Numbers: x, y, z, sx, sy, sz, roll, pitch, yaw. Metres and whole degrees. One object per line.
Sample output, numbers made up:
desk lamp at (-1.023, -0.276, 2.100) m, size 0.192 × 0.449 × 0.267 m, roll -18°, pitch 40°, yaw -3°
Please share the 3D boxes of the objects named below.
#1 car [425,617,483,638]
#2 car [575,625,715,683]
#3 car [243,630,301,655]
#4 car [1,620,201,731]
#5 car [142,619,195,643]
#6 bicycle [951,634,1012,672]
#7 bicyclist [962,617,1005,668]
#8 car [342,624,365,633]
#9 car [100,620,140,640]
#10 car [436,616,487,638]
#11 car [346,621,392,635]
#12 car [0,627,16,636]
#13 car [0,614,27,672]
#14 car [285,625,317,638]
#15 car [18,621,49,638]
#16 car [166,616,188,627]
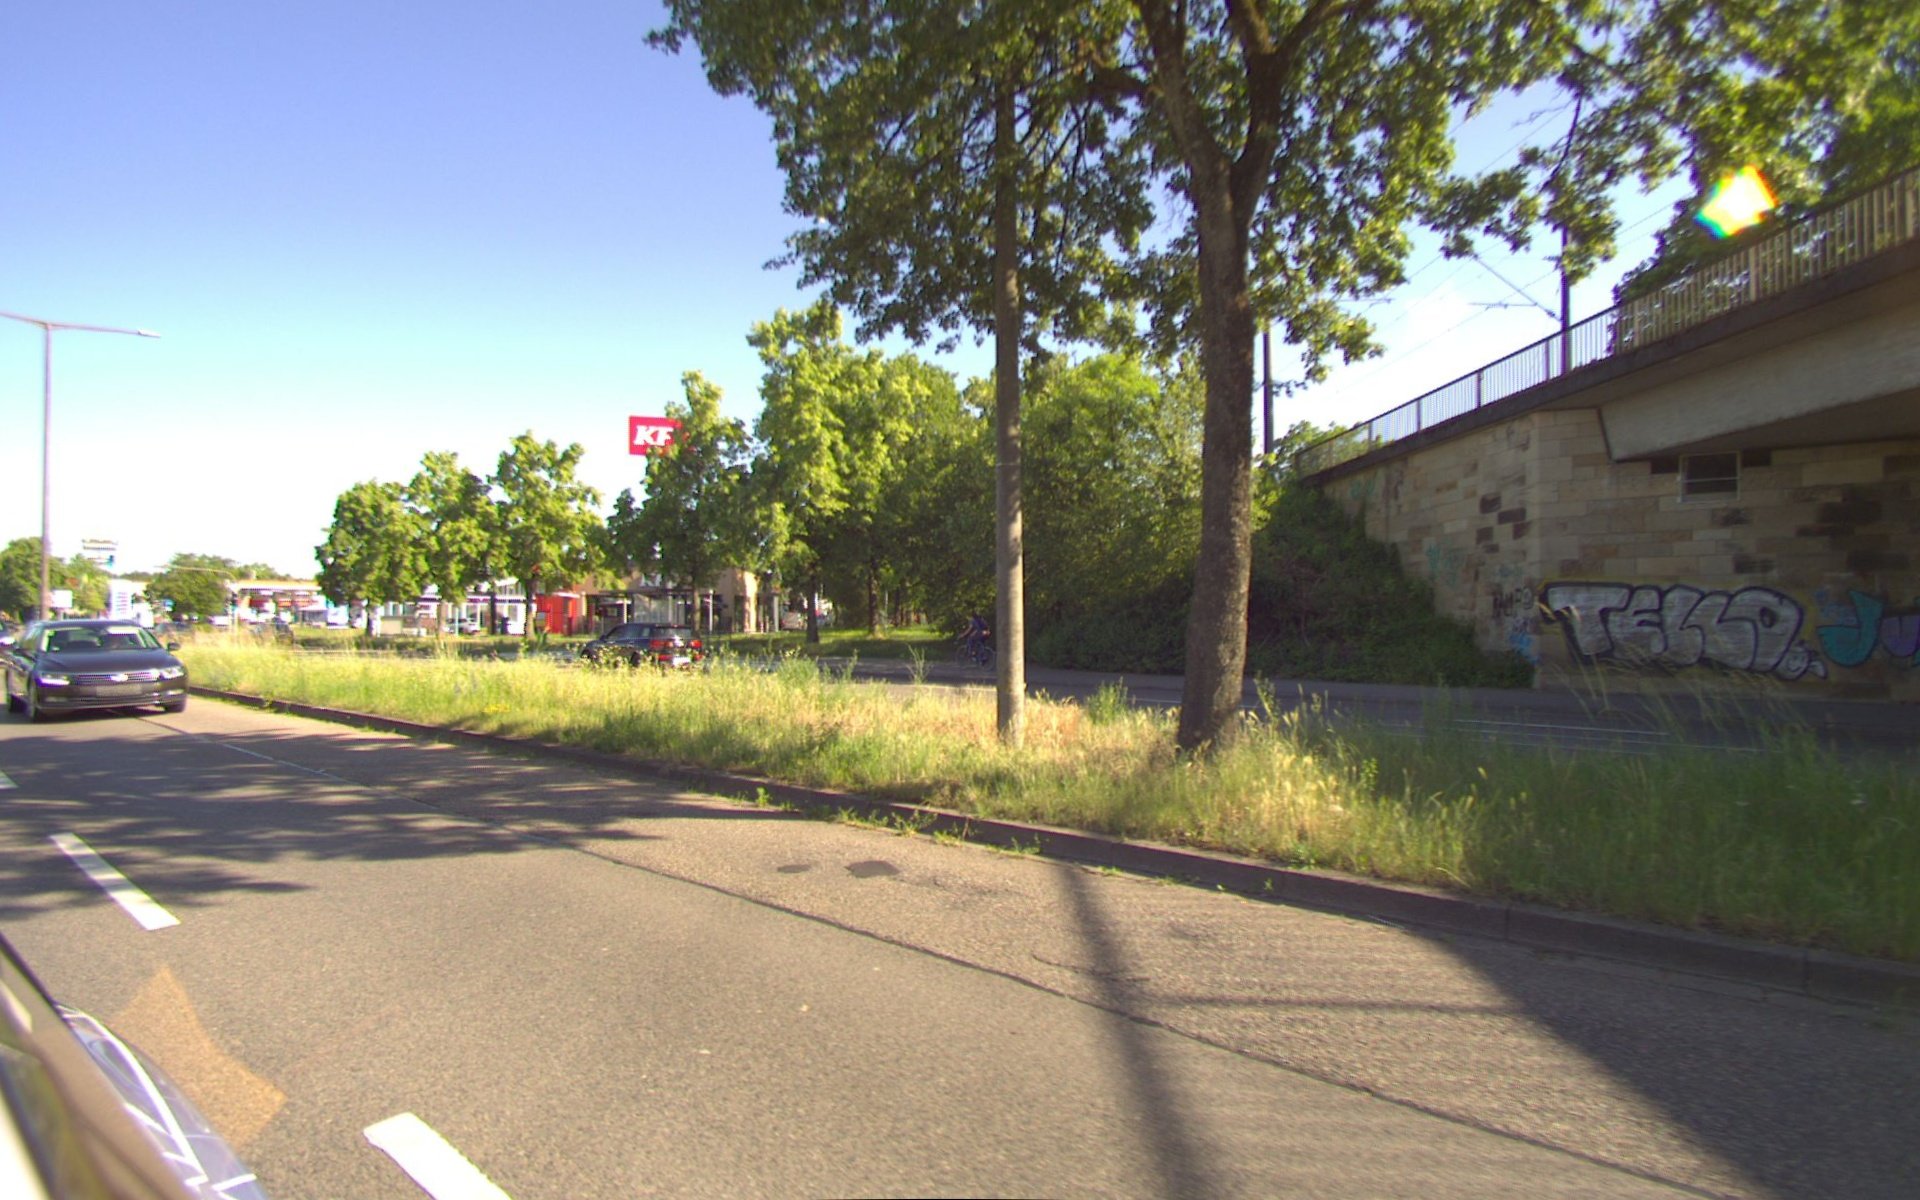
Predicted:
car at (-43.992, 2.384, 88.002) m, size 4.074 × 1.674 × 1.896 m, roll -1°, pitch 0°, yaw -1°
car at (-8.681, 1.429, 27.749) m, size 4.088 × 1.453 × 1.797 m, roll -1°, pitch -2°, yaw 41°
car at (-43.064, 2.627, 63.311) m, size 4.488 × 1.466 × 1.894 m, roll -1°, pitch -3°, yaw 41°
car at (-13.407, 1.069, 15.705) m, size 4.264 × 1.464 × 1.824 m, roll -1°, pitch -1°, yaw 42°
car at (-50.559, 1.946, 64.633) m, size 4.628 × 1.446 × 1.798 m, roll -1°, pitch -3°, yaw 41°
bicycle at (0.611, 1.507, 29.102) m, size 1.714 × 1.038 × 0.676 m, roll -1°, pitch 0°, yaw 41°
bicyclist at (0.661, 1.206, 29.055) m, size 1.026 × 1.412 × 0.673 m, roll -1°, pitch 0°, yaw 41°
car at (-92.855, 4.350, 154.818) m, size 4.116 × 1.451 × 1.749 m, roll -1°, pitch -2°, yaw 40°
car at (-63.245, 2.228, 76.145) m, size 4.109 × 1.462 × 1.624 m, roll -1°, pitch -3°, yaw 41°
car at (-45.496, 2.472, 92.466) m, size 3.778 × 1.864 × 1.847 m, roll -1°, pitch 0°, yaw 2°
car at (-66.663, 3.138, 114.164) m, size 1.900 × 1.443 × 4.063 m, roll -1°, pitch -3°, yaw 41°
car at (-147.190, 4.792, 156.080) m, size 4.621 × 1.387 × 1.973 m, roll -1°, pitch -2°, yaw 41°
car at (-30.213, 1.309, 30.964) m, size 4.694 × 1.696 × 1.973 m, roll -1°, pitch 0°, yaw 42°
car at (-74.168, 3.521, 113.826) m, size 4.116 × 1.335 × 1.876 m, roll -1°, pitch -3°, yaw 40°
car at (-99.919, 3.175, 109.175) m, size 4.175 × 1.697 × 1.972 m, roll -1°, pitch -3°, yaw 41°
car at (-120.363, 3.270, 155.571) m, size 4.116 × 1.625 × 1.739 m, roll -1°, pitch -3°, yaw 40°
